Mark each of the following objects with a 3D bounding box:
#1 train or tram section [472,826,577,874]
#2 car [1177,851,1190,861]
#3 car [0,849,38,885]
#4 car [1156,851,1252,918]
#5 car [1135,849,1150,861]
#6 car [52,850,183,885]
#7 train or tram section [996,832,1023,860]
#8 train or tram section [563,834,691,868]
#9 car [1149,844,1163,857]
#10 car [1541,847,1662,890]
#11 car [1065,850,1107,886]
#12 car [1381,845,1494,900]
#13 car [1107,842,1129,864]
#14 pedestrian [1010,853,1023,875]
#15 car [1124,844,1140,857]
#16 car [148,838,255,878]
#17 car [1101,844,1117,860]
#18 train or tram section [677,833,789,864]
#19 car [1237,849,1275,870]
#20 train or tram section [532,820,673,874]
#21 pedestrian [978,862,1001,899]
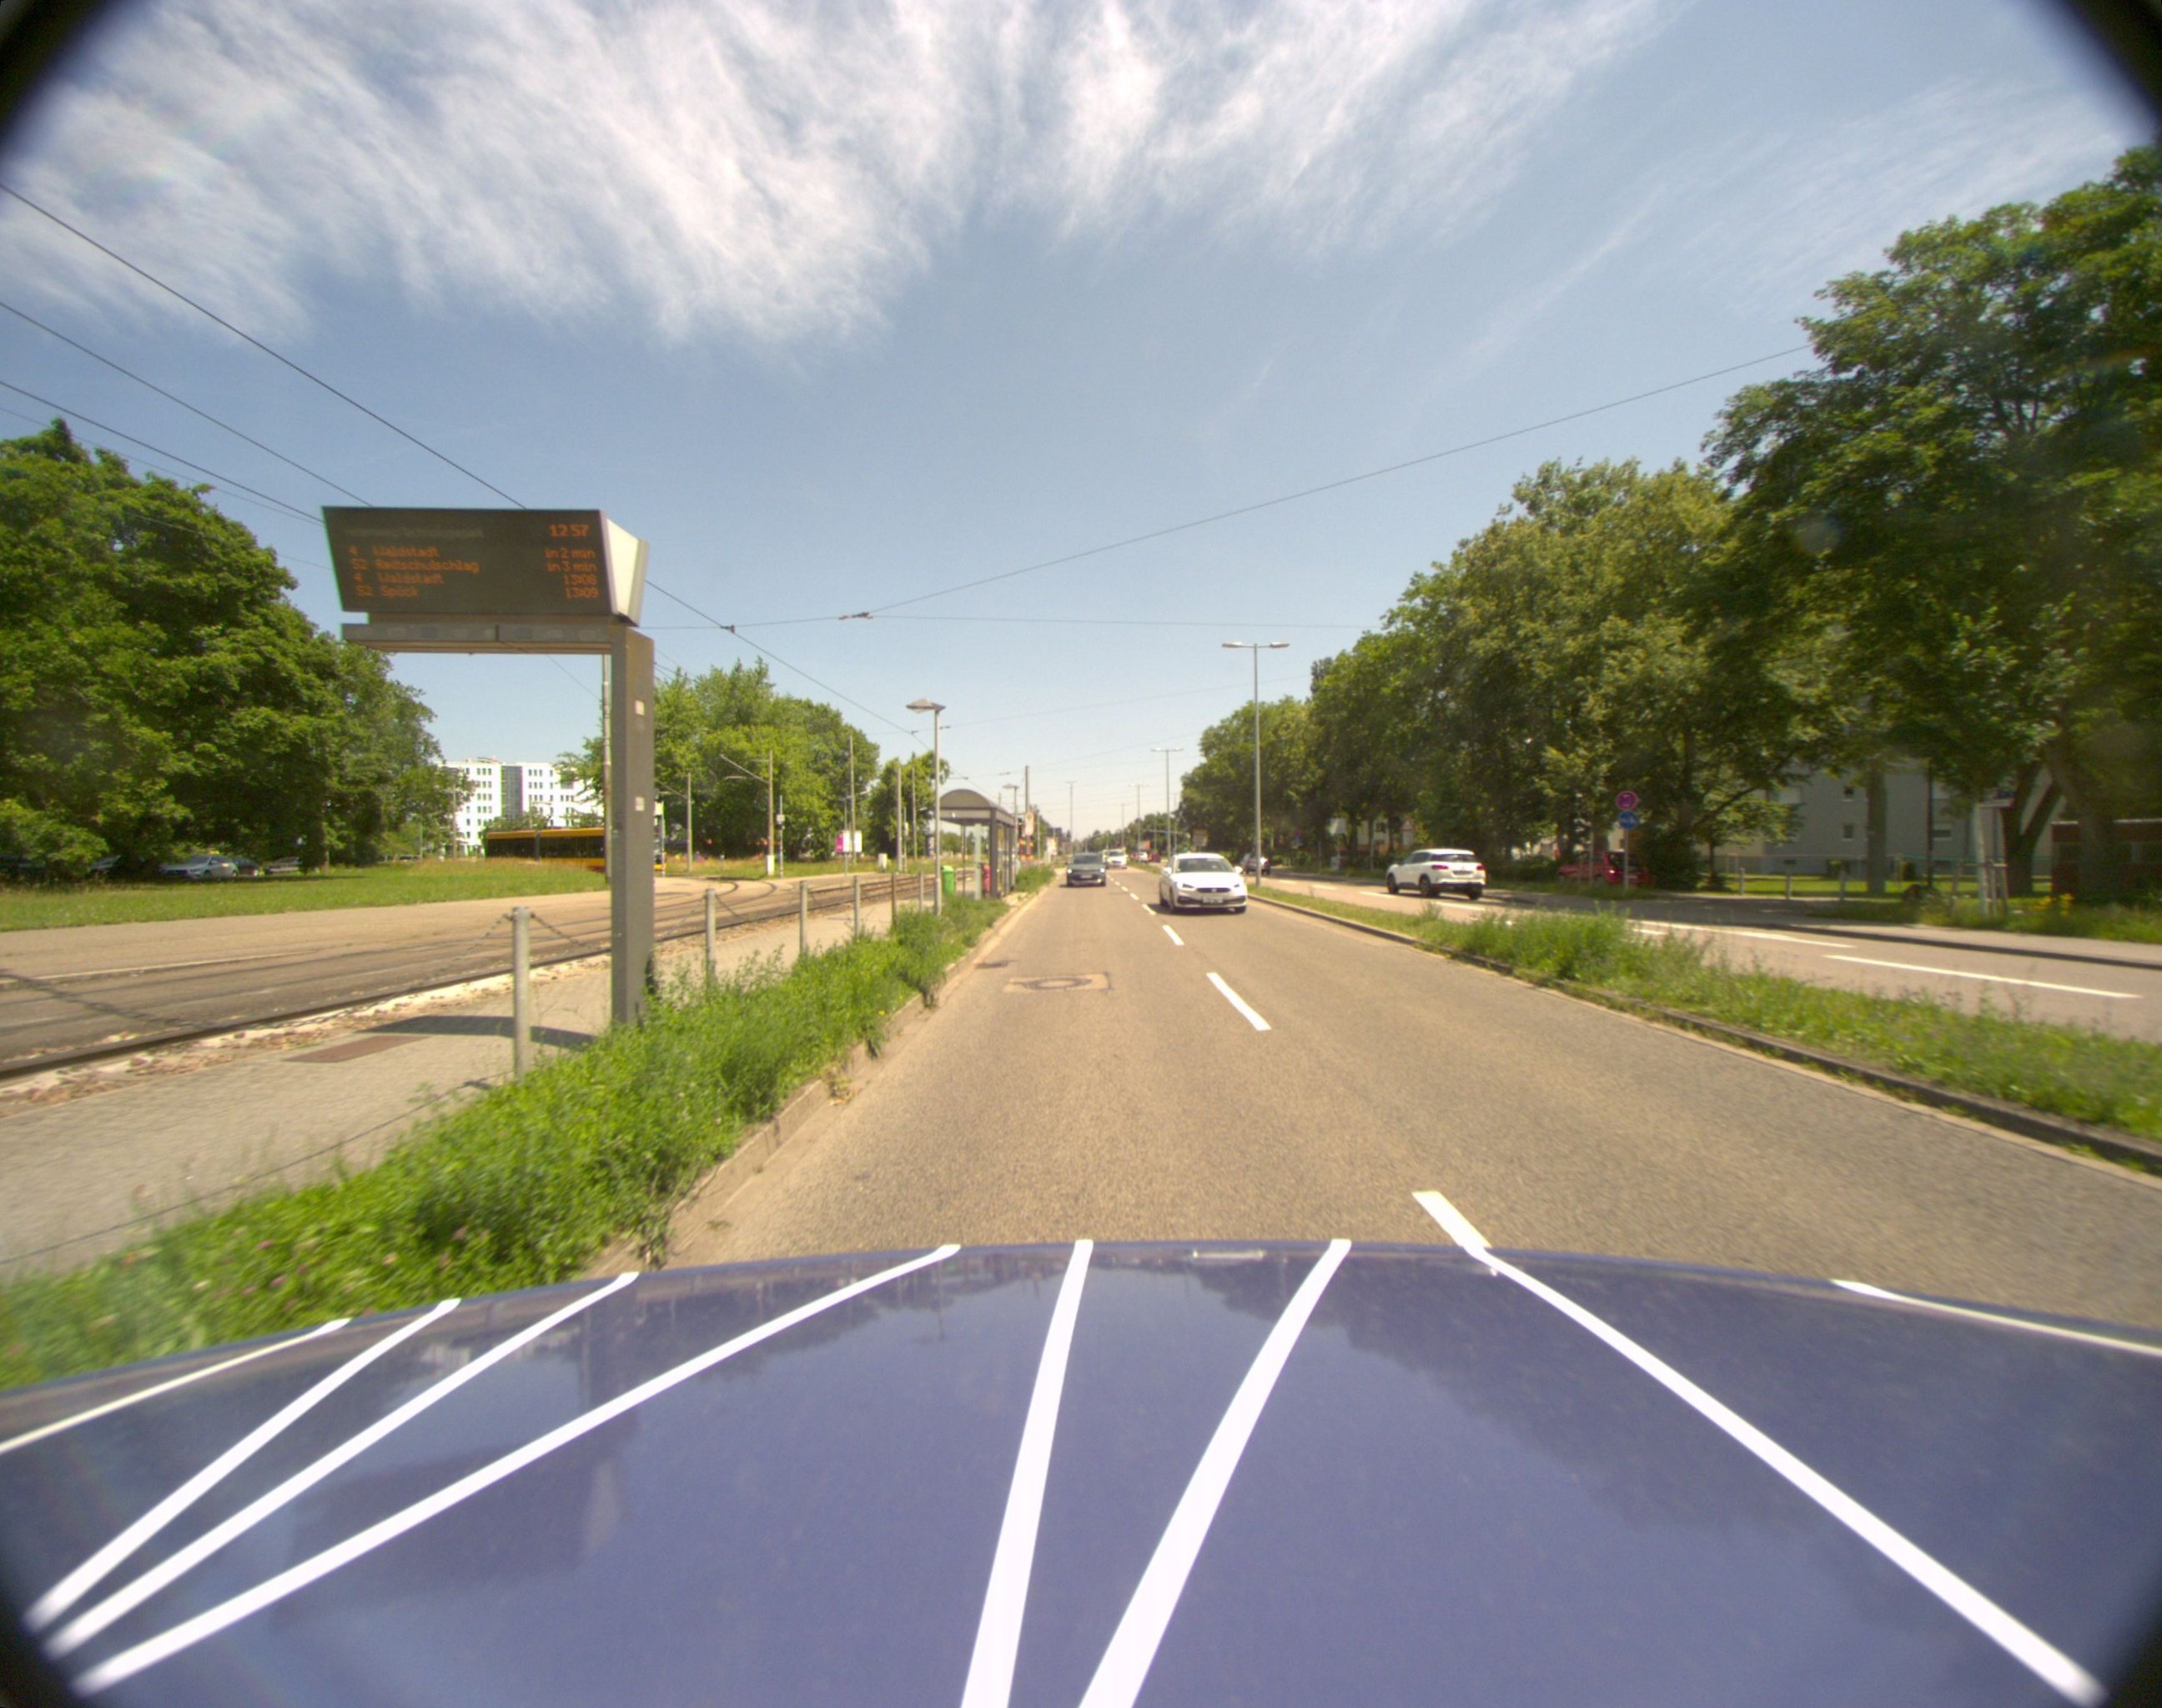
[{"bbox_3d":[-45.545,-0.256,61.914,13.214,3.629,2.720,-1,2,36],"label":"train or tram section"},{"bbox_3d":[15.875,0.274,117.777,1.744,1.499,4.635,0,1,3],"label":"car"},{"bbox_3d":[-43.611,0.525,29.418,1.961,1.414,3.937,0,1,-21],"label":"car"},{"bbox_3d":[3.012,0.688,19.420,1.772,1.460,4.111,-2,1,0],"label":"car"},{"bbox_3d":[8.746,0.124,108.660,1.816,1.631,3.999,-2,1,1],"label":"car"},{"bbox_3d":[-45.312,0.572,35.892,1.707,1.530,4.606,0,1,-21],"label":"car"},{"bbox_3d":[-8.806,-1.061,94.634,2.524,3.304,7.259,0,1,1],"label":"train or tram section"},{"bbox_3d":[-54.828,-0.474,92.370,2.708,3.629,13.275,0,2,35],"label":"train or tram section"},{"bbox_3d":[12.049,-0.555,121.951,1.998,2.002,4.000,0,1,2],"label":"car"},{"bbox_3d":[20.149,0.512,29.669,1.998,1.576,4.000,0,0,1],"label":"car"},{"bbox_3d":[0.312,0.623,36.093,1.787,1.554,4.135,-2,0,3],"label":"car"},{"bbox_3d":[12.330,0.591,26.616,1.864,1.748,4.479,1,0,0],"label":"car"},{"bbox_3d":[3.574,-0.124,73.321,1.998,2.002,4.000,0,1,3],"label":"car"},{"bbox_3d":[-3.322,0.531,39.249,0.611,1.122,0.621,0,1,0],"label":"pedestrian"},{"bbox_3d":[7.877,-0.525,118.369,1.999,2.002,3.998,0,1,-3],"label":"car"},{"bbox_3d":[-47.147,0.182,40.880,1.961,2.002,4.306,0,1,-21],"label":"car"},{"bbox_3d":[3.499,-0.307,95.467,1.921,2.002,3.999,0,1,0],"label":"car"},{"bbox_3d":[-46.402,-0.838,101.735,13.275,3.629,2.708,-3,2,-40],"label":"train or tram section"},{"bbox_3d":[12.903,0.378,56.218,1.772,1.545,4.083,0,0,-1],"label":"car"},{"bbox_3d":[-34.804,-0.412,54.953,13.150,3.629,2.720,-1,2,30],"label":"train or tram section"},{"bbox_3d":[-2.638,0.756,21.866,0.577,1.034,0.579,0,1,1],"label":"pedestrian"}]
